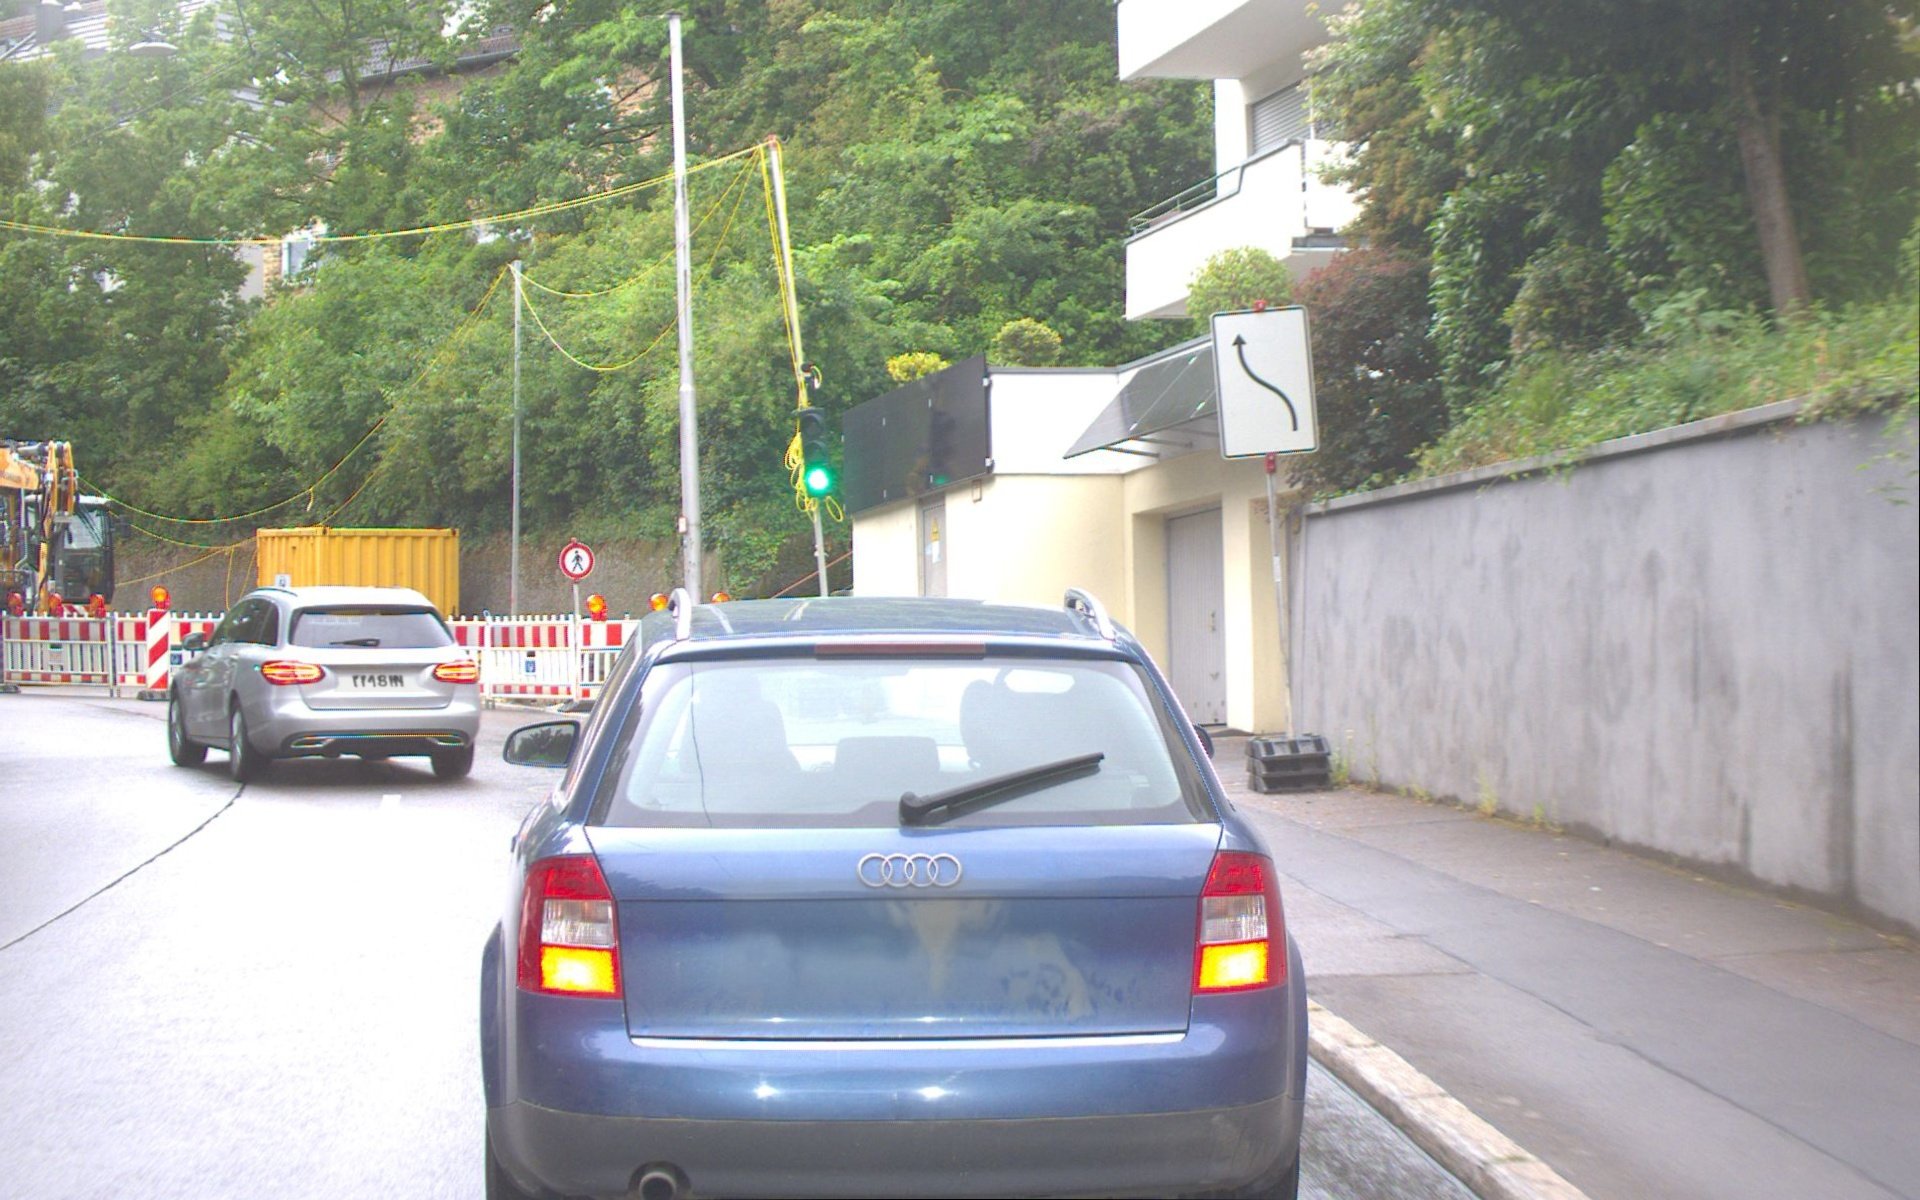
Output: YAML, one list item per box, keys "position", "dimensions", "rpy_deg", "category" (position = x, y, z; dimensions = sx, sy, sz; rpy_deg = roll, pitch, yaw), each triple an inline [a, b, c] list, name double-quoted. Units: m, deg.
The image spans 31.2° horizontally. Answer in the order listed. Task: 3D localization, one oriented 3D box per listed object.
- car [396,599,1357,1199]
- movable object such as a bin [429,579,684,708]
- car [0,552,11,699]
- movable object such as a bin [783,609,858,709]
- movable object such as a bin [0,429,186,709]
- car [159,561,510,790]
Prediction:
- position: [-0.225, 0.731, 8.373]
  dimensions: [1.785, 1.437, 3.964]
  rpy_deg: [0, 0, -2]
  category: "car"
- position: [-5.224, 0.515, 44.042]
  dimensions: [1.993, 1.514, 4.001]
  rpy_deg: [0, 1, -27]
  category: "movable object such as a bin"
- position: [-13.540, 0.376, 43.075]
  dimensions: [1.994, 1.787, 4.000]
  rpy_deg: [-3, 1, -33]
  category: "car"
- position: [-1.491, 0.627, 36.670]
  dimensions: [0.719, 1.028, 0.592]
  rpy_deg: [-1, 0, -9]
  category: "movable object such as a bin"
- position: [-14.288, -0.507, 53.001]
  dimensions: [2.819, 4.000, 7.328]
  rpy_deg: [-1, 1, -27]
  category: "movable object such as a bin"
- position: [-4.996, 0.514, 26.995]
  dimensions: [1.926, 1.612, 4.321]
  rpy_deg: [-1, 1, -21]
  category: "car"
